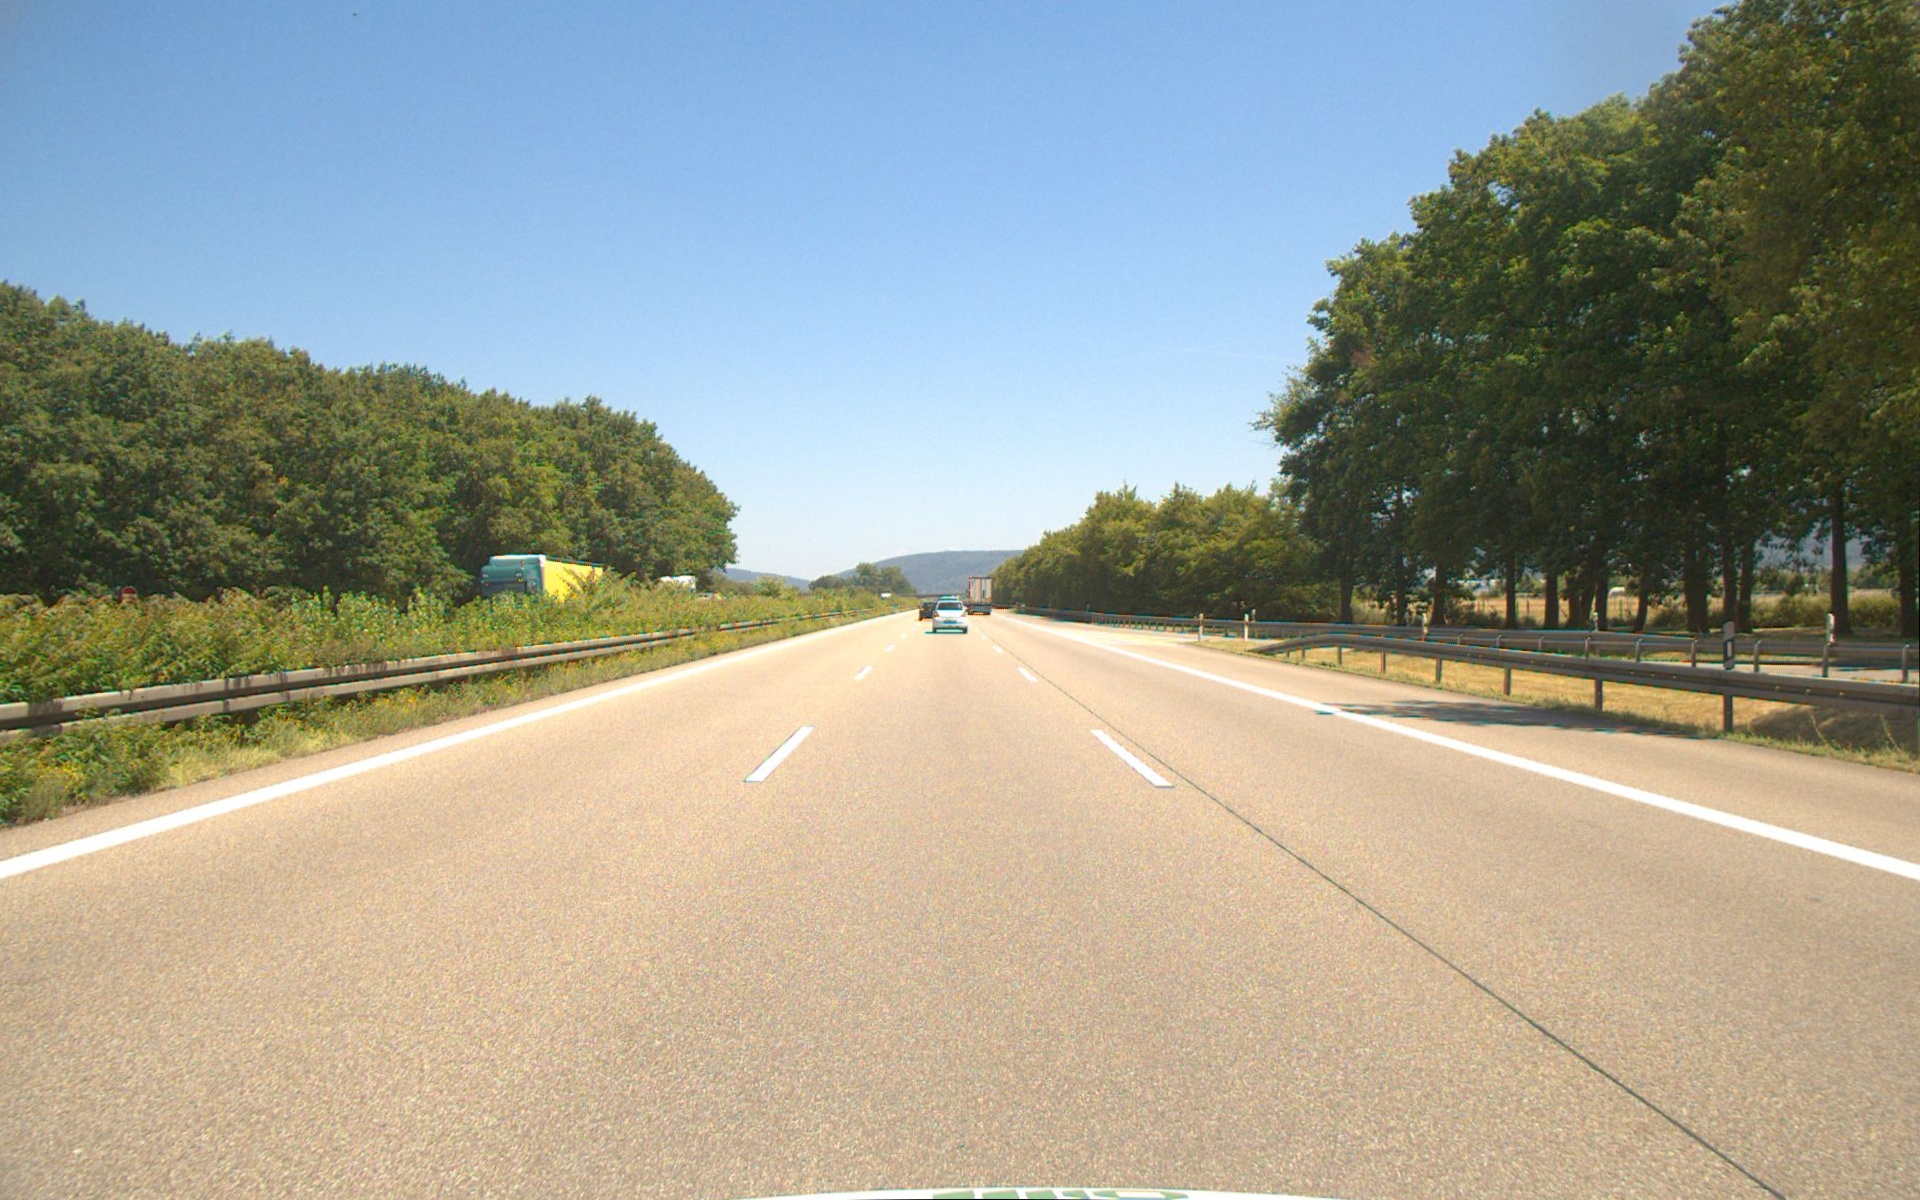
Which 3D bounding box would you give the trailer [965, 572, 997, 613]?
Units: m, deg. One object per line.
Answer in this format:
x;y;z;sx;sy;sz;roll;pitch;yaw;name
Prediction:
2.448;-0.823;187.020;3.151;4.421;13.633;1;0;3;trailer

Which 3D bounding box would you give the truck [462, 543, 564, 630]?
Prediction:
-20.992;-0.619;78.090;3.133;3.892;6.393;1;0;-1;truck

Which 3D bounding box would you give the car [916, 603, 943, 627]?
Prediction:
-2.272;1.088;124.443;1.953;1.742;3.999;1;0;-1;car

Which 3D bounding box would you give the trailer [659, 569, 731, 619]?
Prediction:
-20.787;-0.396;130.895;3.132;3.642;15.966;1;0;0;trailer

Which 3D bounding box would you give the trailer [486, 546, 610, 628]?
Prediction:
-21.131;-0.600;85.883;3.133;3.892;14.019;1;0;-1;trailer

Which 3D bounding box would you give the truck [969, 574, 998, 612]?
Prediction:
2.790;-0.795;194.481;3.151;4.421;6.592;1;0;3;truck

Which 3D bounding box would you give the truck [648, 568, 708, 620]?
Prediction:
-20.735;-0.420;121.959;3.132;3.642;6.995;1;0;0;truck

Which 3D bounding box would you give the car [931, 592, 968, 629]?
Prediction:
-0.502;0.493;78.773;1.697;1.713;3.999;-1;0;-1;car
